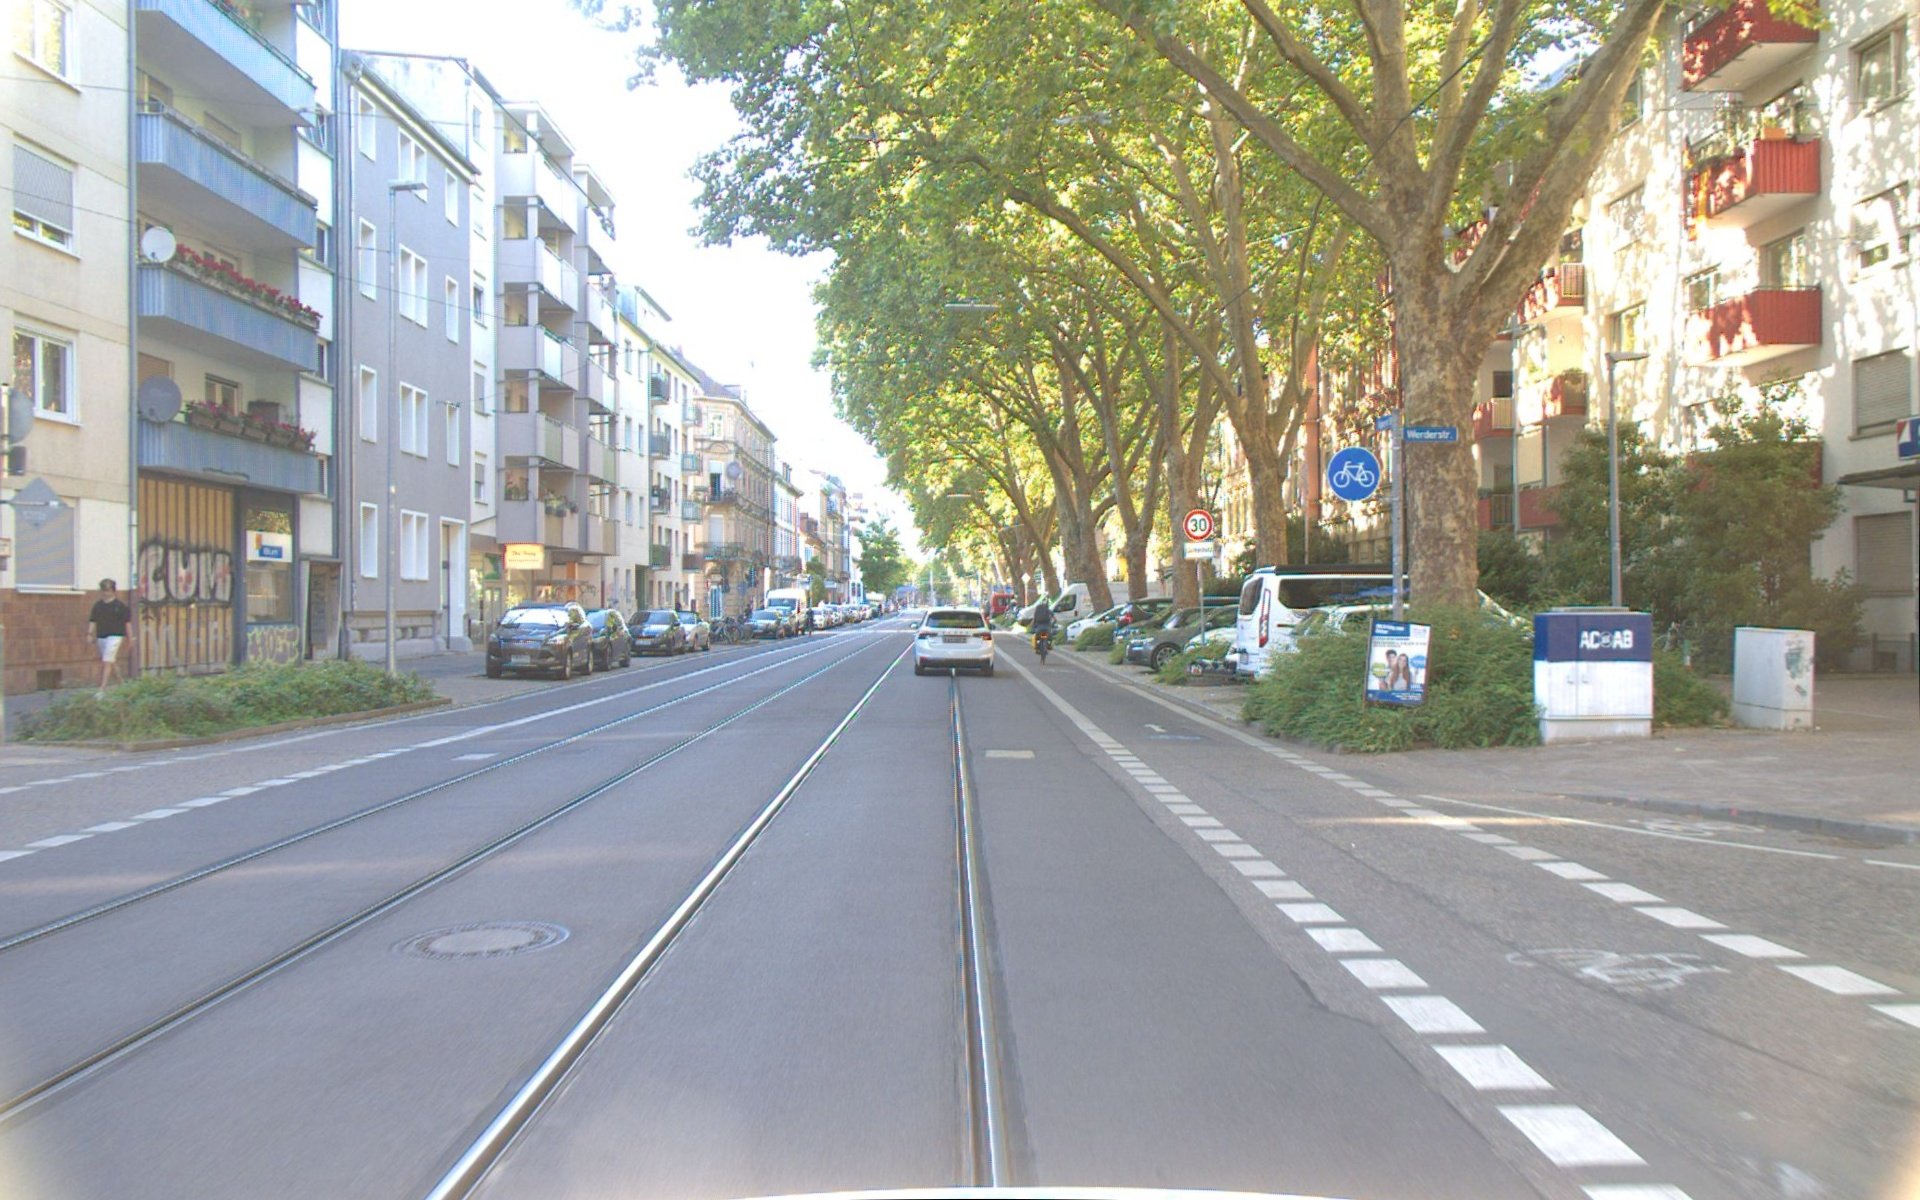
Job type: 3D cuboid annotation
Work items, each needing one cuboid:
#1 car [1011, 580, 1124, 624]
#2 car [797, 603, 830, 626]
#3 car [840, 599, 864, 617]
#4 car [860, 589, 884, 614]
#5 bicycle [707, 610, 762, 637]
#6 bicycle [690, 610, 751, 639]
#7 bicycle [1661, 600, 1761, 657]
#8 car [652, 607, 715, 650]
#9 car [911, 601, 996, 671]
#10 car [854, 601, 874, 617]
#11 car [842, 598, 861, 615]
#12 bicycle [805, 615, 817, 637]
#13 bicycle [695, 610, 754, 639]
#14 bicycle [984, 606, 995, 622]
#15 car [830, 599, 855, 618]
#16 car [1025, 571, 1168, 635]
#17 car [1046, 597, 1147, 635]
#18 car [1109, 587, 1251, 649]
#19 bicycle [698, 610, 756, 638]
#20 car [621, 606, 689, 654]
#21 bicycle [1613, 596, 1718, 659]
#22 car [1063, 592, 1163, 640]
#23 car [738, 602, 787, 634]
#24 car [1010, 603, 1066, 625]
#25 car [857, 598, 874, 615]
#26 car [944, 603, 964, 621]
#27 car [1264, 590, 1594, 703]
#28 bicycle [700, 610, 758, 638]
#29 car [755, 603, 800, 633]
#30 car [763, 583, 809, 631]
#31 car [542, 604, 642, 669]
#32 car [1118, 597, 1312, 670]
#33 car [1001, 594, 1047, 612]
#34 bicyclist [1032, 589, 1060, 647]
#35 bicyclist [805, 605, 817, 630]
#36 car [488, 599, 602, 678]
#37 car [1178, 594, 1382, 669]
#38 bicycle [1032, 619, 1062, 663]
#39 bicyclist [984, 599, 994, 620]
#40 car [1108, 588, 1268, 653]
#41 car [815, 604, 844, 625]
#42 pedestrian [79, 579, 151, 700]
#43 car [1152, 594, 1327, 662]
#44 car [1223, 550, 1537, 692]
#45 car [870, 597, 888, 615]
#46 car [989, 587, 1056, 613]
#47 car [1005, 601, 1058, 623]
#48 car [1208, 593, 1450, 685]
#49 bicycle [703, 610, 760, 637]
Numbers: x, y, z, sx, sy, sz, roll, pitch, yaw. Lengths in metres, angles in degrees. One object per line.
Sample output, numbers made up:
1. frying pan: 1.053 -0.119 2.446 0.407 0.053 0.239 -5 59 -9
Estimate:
1. car: 5.958 0.094 91.990 6.007 2.322 2.528 -1 0 -3
2. car: -10.183 0.977 115.081 1.953 1.557 3.999 -1 0 -1
3. car: -9.853 0.755 151.085 1.953 1.669 3.999 0 -1 0
4. car: -11.525 0.220 217.628 2.907 3.211 5.846 0 -1 -1
5. bicycle: -10.300 1.075 75.656 2.476 1.193 0.718 1 -2 -7
6. bicycle: -10.283 1.061 70.996 2.509 1.193 0.870 3 -2 -41
7. bicycle: 15.377 0.577 33.901 1.756 1.060 0.617 -3 0 -5
8. car: -9.788 0.992 58.848 1.454 1.428 3.991 -1 0 1
9. car: -0.139 0.747 36.037 1.725 1.408 4.000 -1 0 0
10. car: -10.279 0.990 176.906 1.953 1.669 3.999 0 -1 0
11. car: -12.817 0.750 196.155 1.953 2.049 3.999 -1 0 -1
12. bicycle: -7.902 1.371 87.700 0.593 1.089 1.582 -1 0 -3
13. bicycle: -10.229 1.066 71.879 2.476 1.193 0.718 1 -2 -7
14. bicycle: 1.925 0.918 109.228 0.636 1.089 1.582 -1 0 -2
15. car: -10.255 0.720 144.391 1.953 1.557 3.999 -1 0 -1
16. car: 6.005 0.128 73.371 6.007 2.681 2.528 -1 0 -3
17. car: 5.803 0.674 70.533 3.971 1.567 1.997 -1 0 -6
18. car: 6.415 0.522 48.510 3.906 1.709 1.723 -1 0 -2
19. bicycle: -10.248 1.066 72.718 2.476 1.193 0.718 1 -2 -6
20. car: -9.879 0.945 53.809 1.620 1.462 3.835 -1 0 -2
21. bicycle: 14.481 0.561 33.956 1.908 1.177 0.571 -3 0 -8
22. car: 5.623 0.582 61.111 3.559 1.695 1.822 -1 0 2
23. car: -9.880 0.893 83.033 1.953 1.557 3.999 -1 0 -1
24. car: 5.709 1.043 121.451 3.967 1.567 2.000 -1 0 -1
25. car: -12.068 0.834 210.462 1.953 2.049 3.999 0 -1 0
26. car: -0.504 1.036 145.396 1.725 1.501 4.000 -1 0 0
27. car: 6.663 0.641 23.808 4.210 1.505 1.830 -1 0 -2
28. bicycle: -10.285 1.065 73.752 2.476 1.193 0.718 1 -2 -6
29. car: -9.777 0.940 88.815 1.953 1.557 3.999 -1 0 -1
30. car: -9.935 0.407 94.759 2.134 2.642 4.948 -1 0 0
31. car: -9.625 0.917 43.553 1.667 1.571 4.241 2 0 -1
32. car: 5.746 0.742 37.585 4.059 1.540 1.930 -1 0 -2
33. car: 5.699 0.261 147.516 3.967 1.567 2.000 -1 0 -1
34. bicyclist: 2.222 0.464 42.874 0.664 1.468 1.047 -1 0 0
35. bicyclist: -7.917 0.934 87.734 0.585 1.308 0.916 -1 0 -3
36. car: -9.512 0.839 38.235 1.668 1.679 4.240 2 0 -2
37. car: 6.783 0.651 35.347 3.954 1.505 1.923 -1 0 -1
38. bicycle: 2.240 1.047 42.969 0.667 1.089 1.781 -1 0 0
39. bicyclist: 1.915 0.647 109.242 0.636 1.367 0.934 -1 0 -2
40. car: 6.328 0.555 46.203 4.149 1.695 1.847 -1 0 -2
41. car: -10.201 1.105 129.042 1.953 1.557 3.999 -1 0 -1
42. pedestrian: -13.326 0.612 26.096 0.650 1.858 0.965 -1 0 -2
43. car: 6.731 0.666 40.040 3.906 1.540 1.760 -1 0 -2
44. car: 6.622 0.316 26.387 4.453 2.113 1.999 -1 0 -3
45. car: -9.698 0.726 198.669 1.953 2.049 3.999 -1 0 -1
46. car: 5.705 -0.008 152.210 6.007 2.322 2.528 -1 0 -3
47. car: 5.551 0.924 127.998 3.967 1.567 2.000 -1 0 -1
48. car: 6.441 0.665 29.097 3.820 1.505 1.722 -1 0 -4
49. bicycle: -10.291 1.064 74.537 2.476 1.193 0.718 1 -2 -6
